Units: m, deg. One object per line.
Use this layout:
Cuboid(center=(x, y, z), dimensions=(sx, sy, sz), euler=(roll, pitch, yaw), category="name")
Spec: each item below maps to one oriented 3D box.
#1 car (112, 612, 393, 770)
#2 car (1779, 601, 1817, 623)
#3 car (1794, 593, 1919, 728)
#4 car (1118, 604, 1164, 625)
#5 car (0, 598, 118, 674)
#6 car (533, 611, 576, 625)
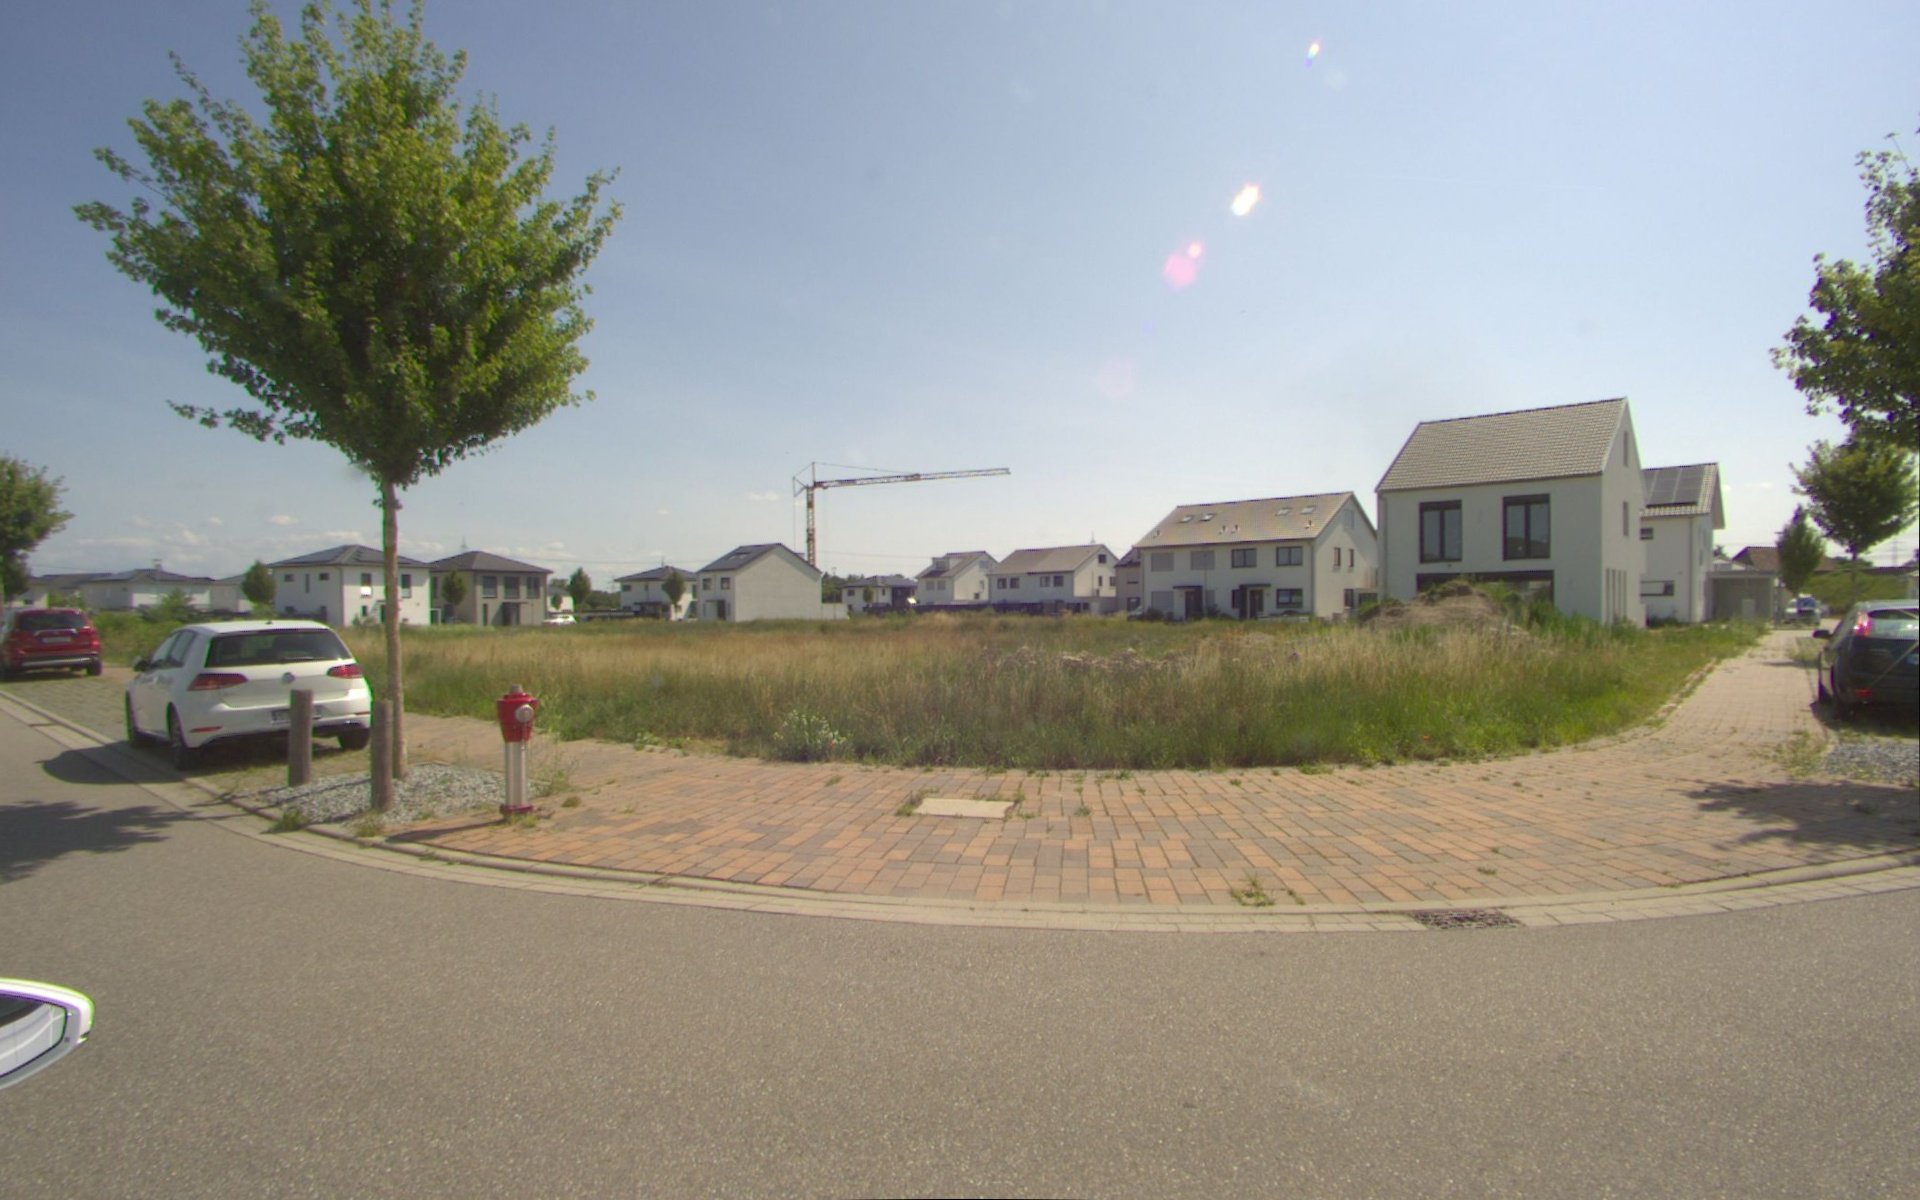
Cuboid(center=(-8.348, 0.907, 11.678), dimensions=(4.118, 1.439, 1.765), euler=(0, 2, 42), category="car")
Cuboid(center=(56.411, 0.791, 67.402), dimensions=(1.903, 1.439, 4.386), euler=(-1, 0, 40), category="car")
Cuboid(center=(12.129, 0.692, 12.793), dimensions=(1.825, 1.512, 4.169), euler=(-2, -2, 34), category="car")
Cuboid(center=(14.800, 1.169, 81.735), dimensions=(1.797, 1.594, 3.963), euler=(-1, 0, 44), category="car")
Cuboid(center=(-22.465, 0.832, 24.791), dimensions=(4.382, 1.686, 1.768), euler=(0, 1, 41), category="car")
Cuboid(center=(-42.192, 1.895, 104.371), dimensions=(1.723, 1.416, 3.984), euler=(-2, -1, 27), category="car")
